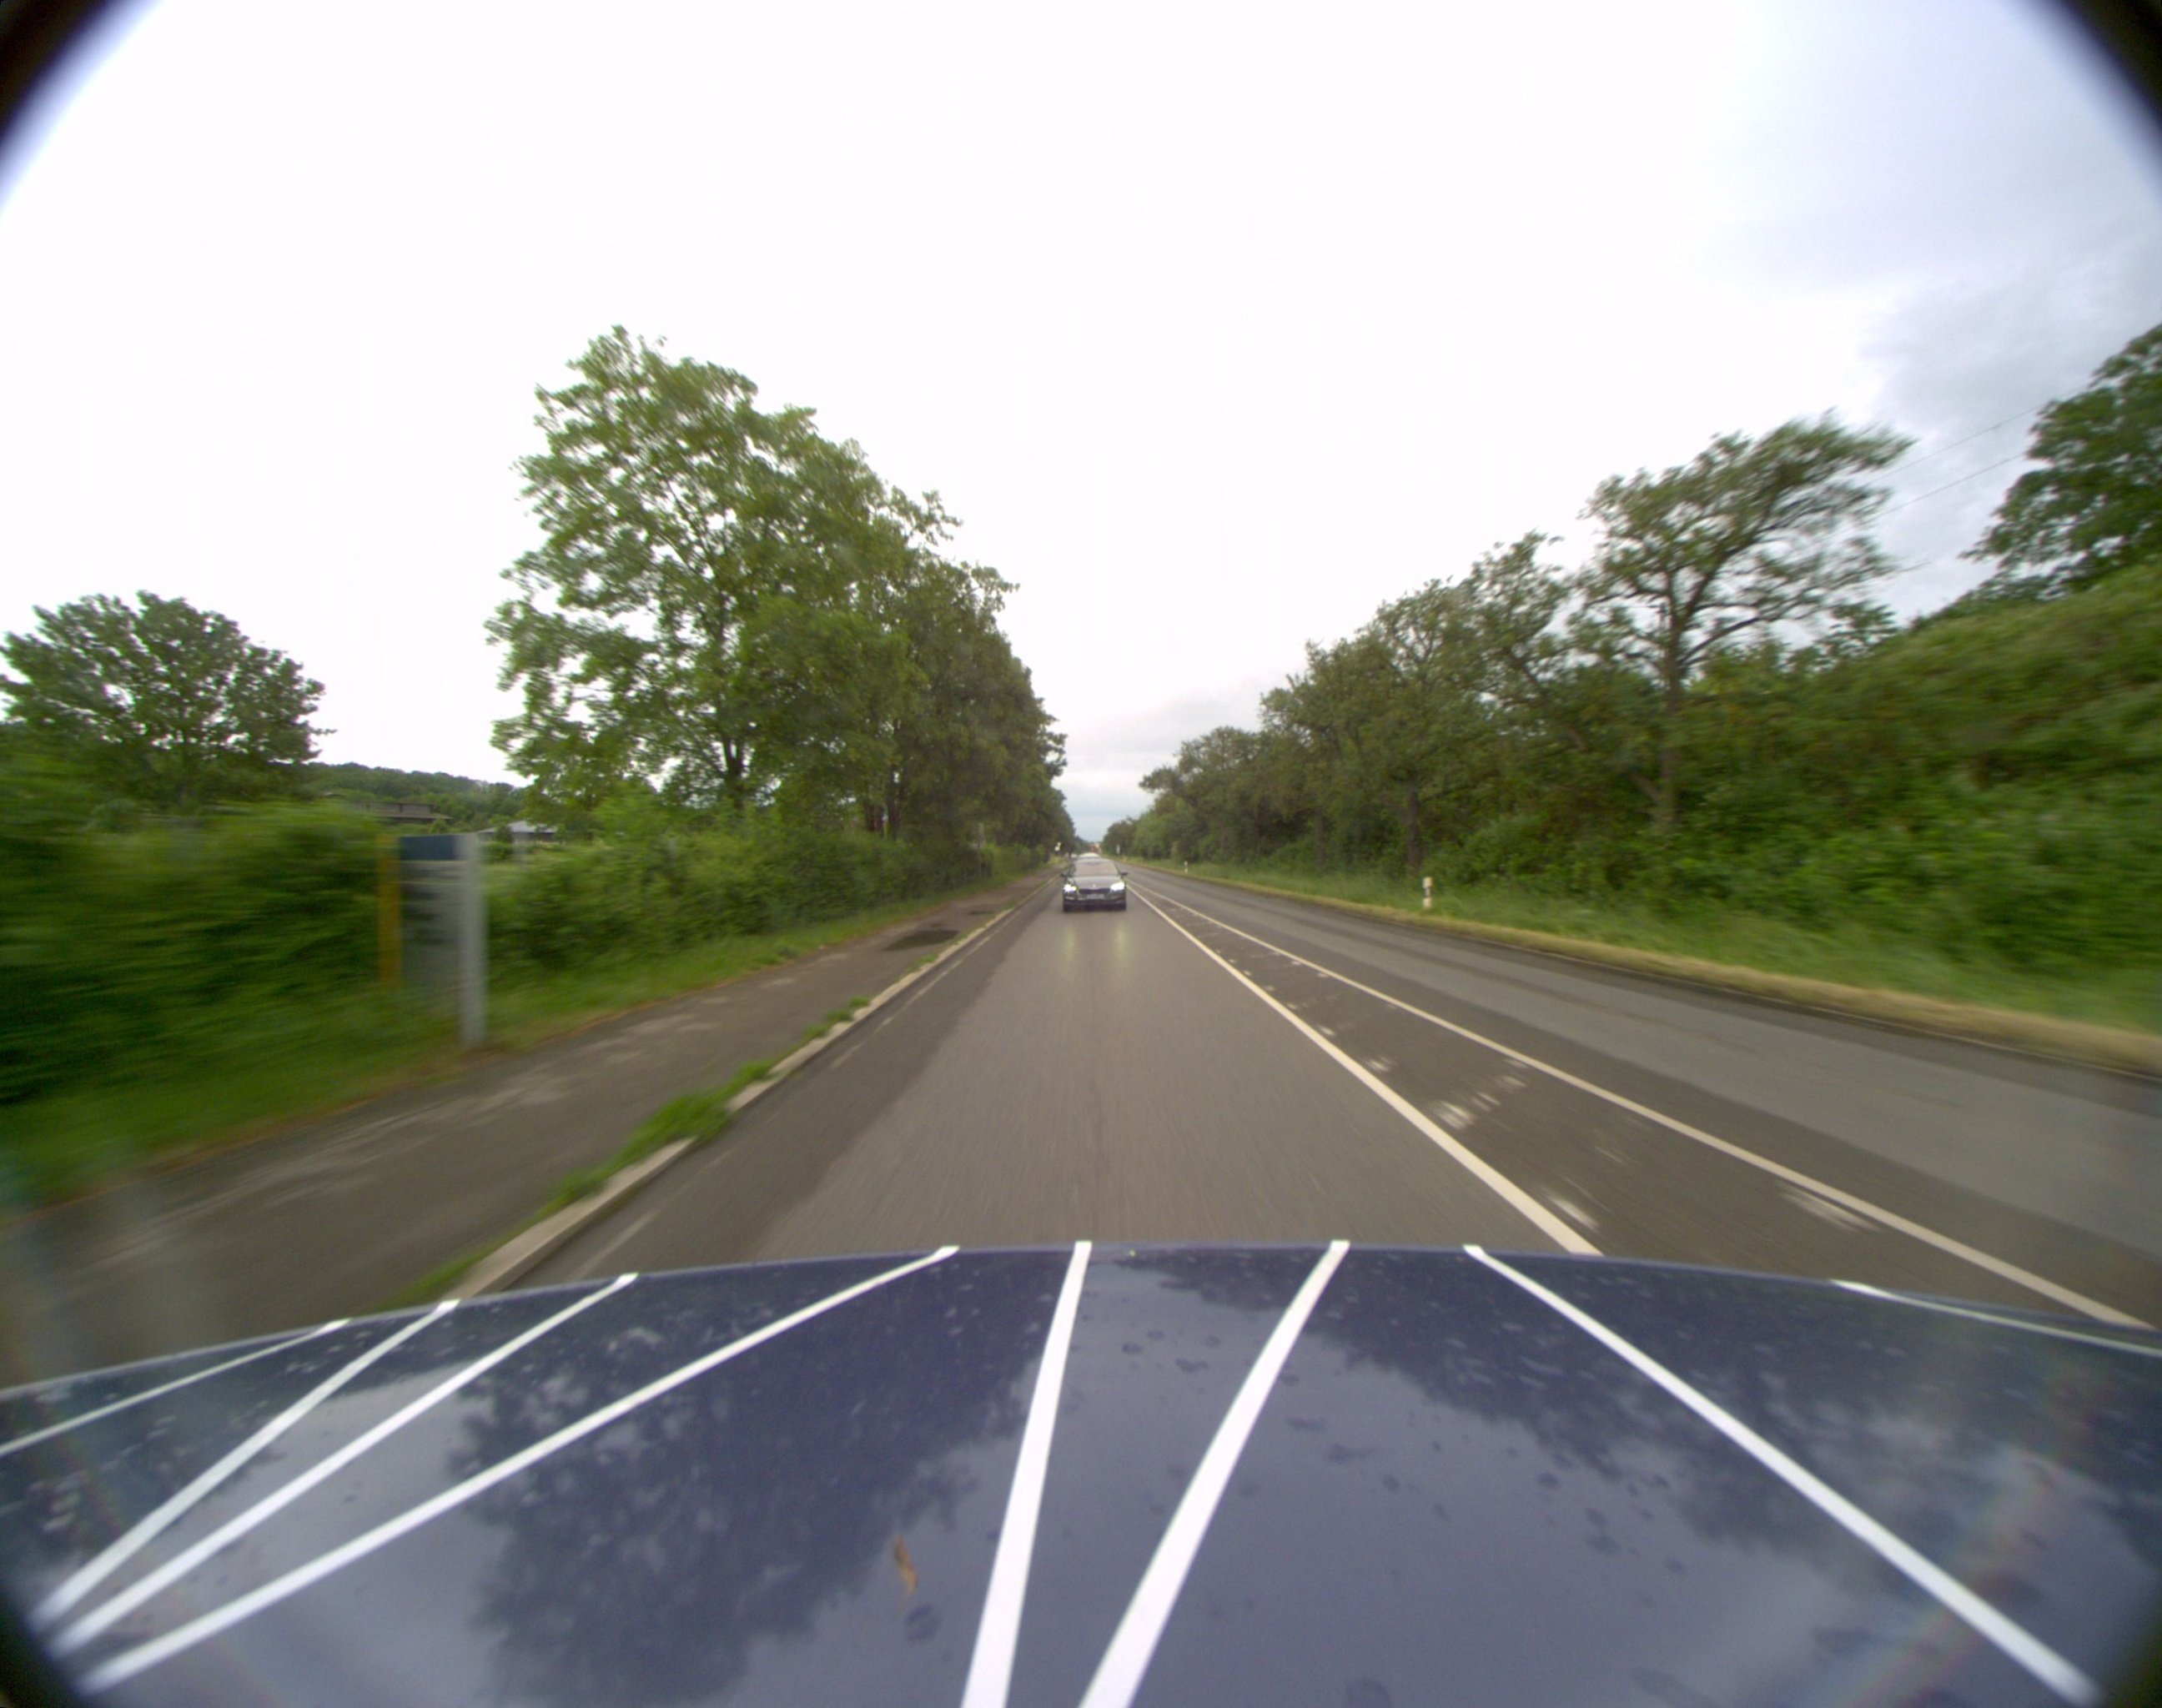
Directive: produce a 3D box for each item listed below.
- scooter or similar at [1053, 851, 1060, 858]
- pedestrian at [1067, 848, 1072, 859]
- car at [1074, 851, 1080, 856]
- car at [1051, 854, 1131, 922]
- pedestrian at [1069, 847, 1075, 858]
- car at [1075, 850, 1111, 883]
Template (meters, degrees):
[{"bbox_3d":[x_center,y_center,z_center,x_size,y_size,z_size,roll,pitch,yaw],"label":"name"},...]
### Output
[{"bbox_3d":[-4.394,0.061,137.111,1.323,1.199,0.375,1,1,41],"label":"scooter or similar"},{"bbox_3d":[-1.912,-0.125,124.071,0.663,1.768,0.759,0,1,-16],"label":"pedestrian"},{"bbox_3d":[-1.270,-0.029,226.107,1.749,1.460,4.220,1,1,1],"label":"car"},{"bbox_3d":[0.268,0.851,21.119,1.915,1.543,4.354,-3,1,0],"label":"car"},{"bbox_3d":[-1.455,-0.285,123.119,0.696,1.817,0.800,0,1,-16],"label":"pedestrian"},{"bbox_3d":[0.671,0.698,43.747,1.915,1.691,3.913,-3,1,0],"label":"car"}]
